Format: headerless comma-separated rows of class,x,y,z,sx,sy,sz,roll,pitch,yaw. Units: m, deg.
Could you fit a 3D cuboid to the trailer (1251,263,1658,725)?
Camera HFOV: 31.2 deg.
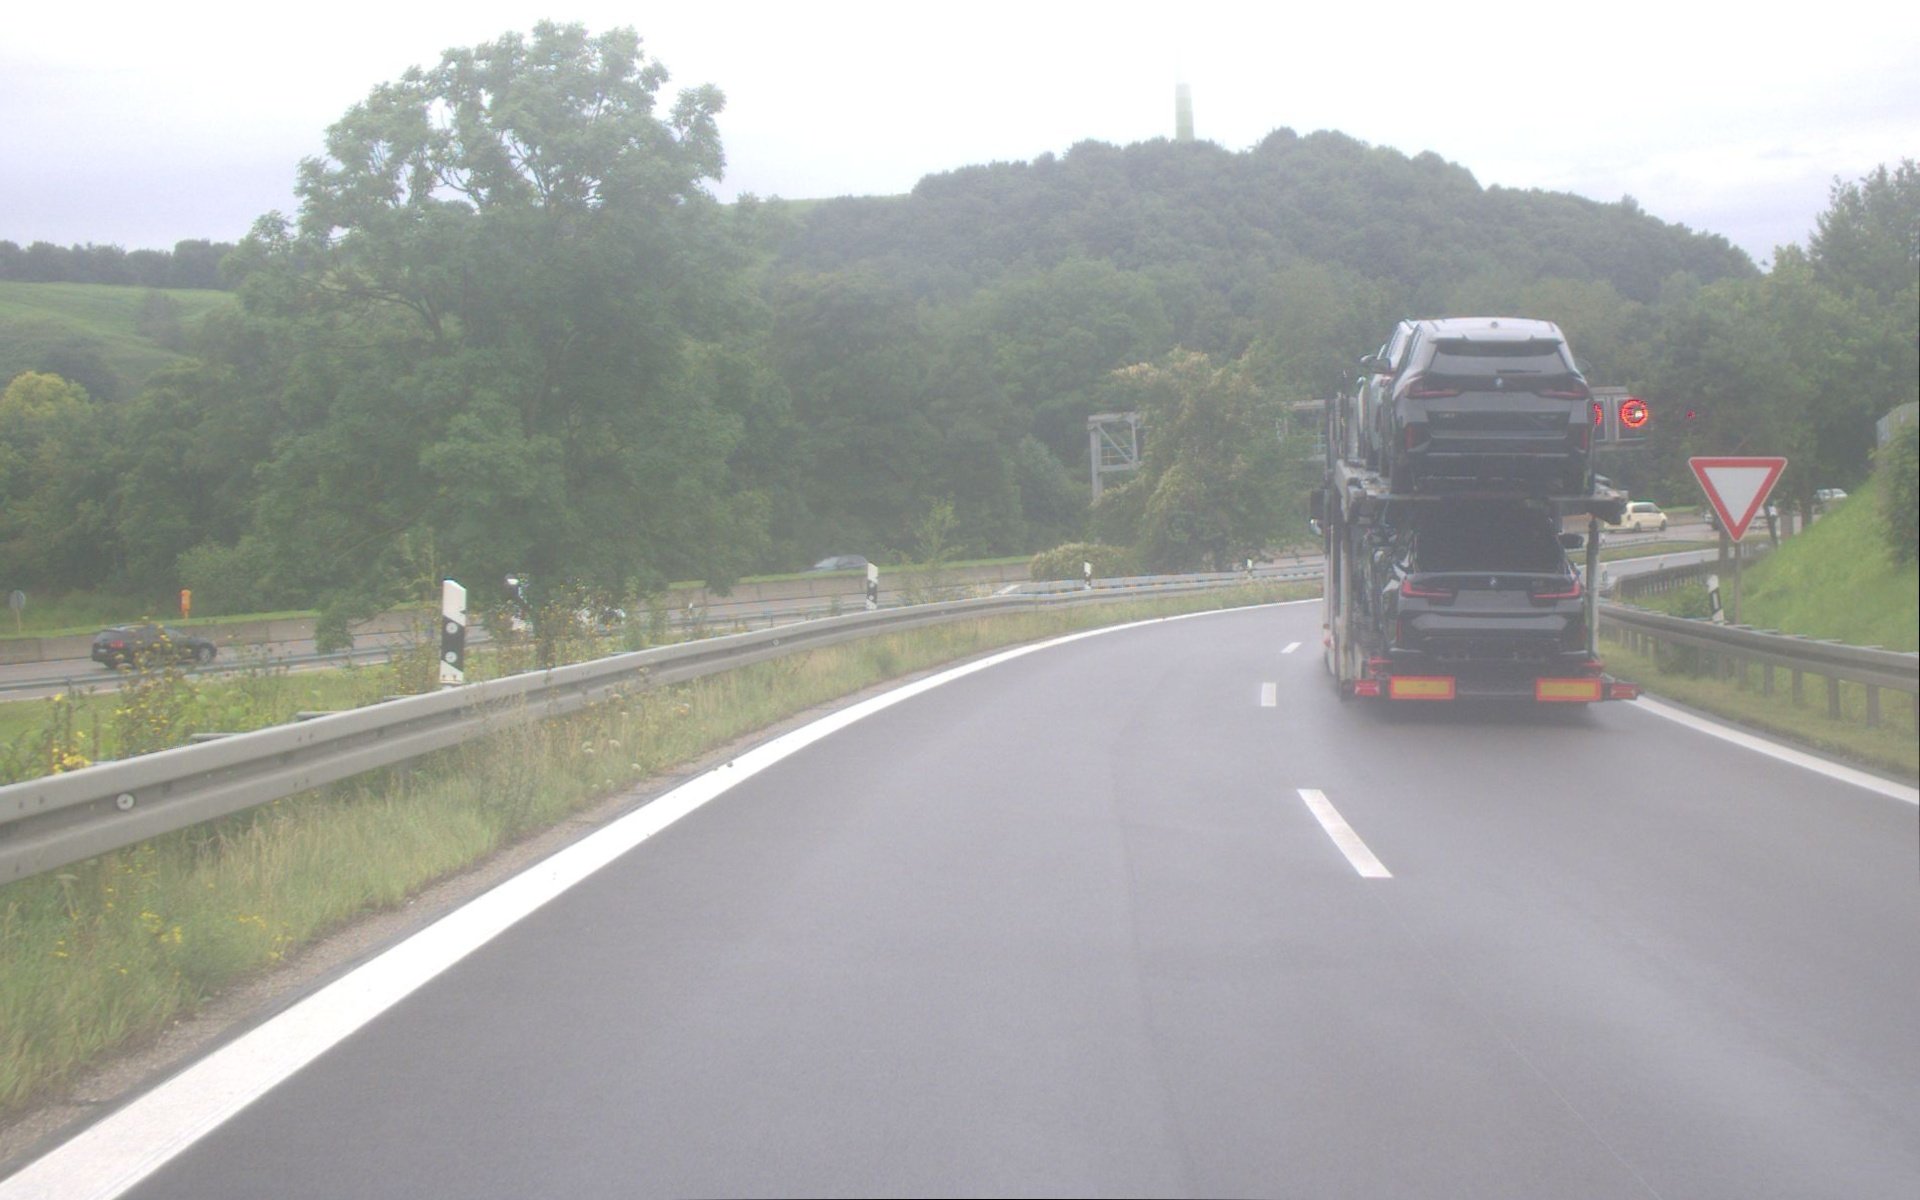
trailer,4.866,-1.009,36.203,3.449,3.986,12.024,1,1,5

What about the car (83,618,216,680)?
car,-28.450,1.706,120.809,1.998,1.711,3.991,-6,1,41

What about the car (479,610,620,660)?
car,-15.554,1.313,130.453,1.998,1.711,5.311,0,1,41

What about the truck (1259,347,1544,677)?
truck,5.914,-1.154,47.744,3.395,3.986,10.845,1,1,5
